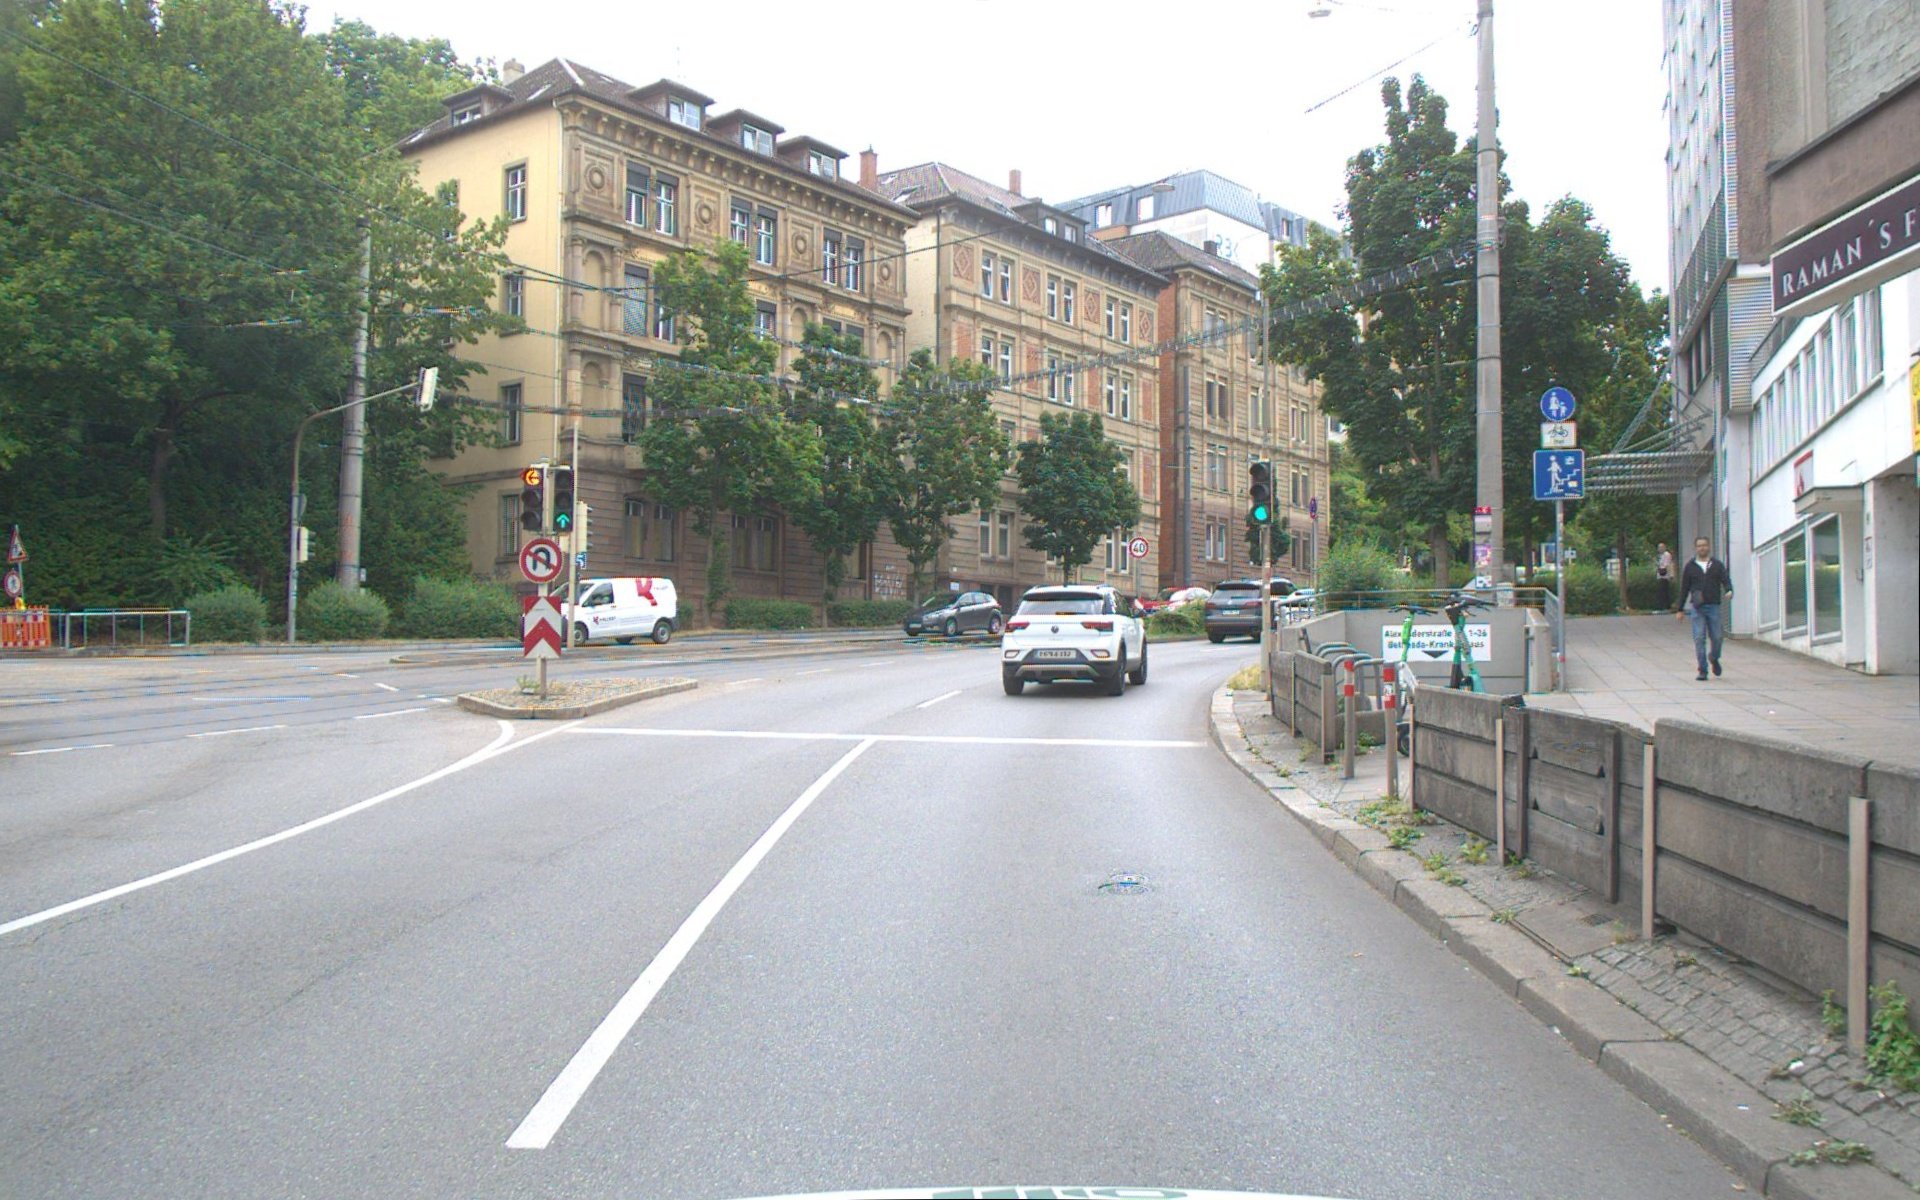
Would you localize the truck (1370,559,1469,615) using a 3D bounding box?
[{"bbox_3d":[27.322,-0.728,98.109,2.877,2.548,7.122,14,7,37],"label":"truck"}]

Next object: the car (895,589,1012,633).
[{"bbox_3d":[-0.180,0.369,56.689,1.714,1.452,4.387,0,0,37],"label":"car"}]

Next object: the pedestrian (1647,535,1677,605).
[{"bbox_3d":[18.523,-0.781,43.647,0.659,1.826,0.609,0,0,17],"label":"pedestrian"}]

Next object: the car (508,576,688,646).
[{"bbox_3d":[-10.289,0.301,47.310,1.961,1.882,4.971,0,0,38],"label":"car"}]

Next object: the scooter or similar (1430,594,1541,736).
[{"bbox_3d":[4.598,0.553,14.462,0.997,1.203,0.373,0,0,-31],"label":"scooter or similar"}]

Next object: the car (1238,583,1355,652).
[{"bbox_3d":[8.451,0.458,41.328,1.866,1.601,3.829,2,-1,27],"label":"car"}]

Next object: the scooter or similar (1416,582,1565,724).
[{"bbox_3d":[5.098,0.487,15.877,1.426,1.276,0.551,-2,1,-31],"label":"scooter or similar"}]

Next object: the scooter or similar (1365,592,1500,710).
[{"bbox_3d":[5.009,0.521,17.520,1.426,1.203,0.577,0,0,-31],"label":"scooter or similar"}]

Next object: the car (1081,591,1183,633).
[{"bbox_3d":[6.503,0.479,62.161,1.959,1.546,4.390,-1,-1,35],"label":"car"}]

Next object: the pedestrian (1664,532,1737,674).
[{"bbox_3d":[9.961,0.027,22.273,0.817,1.842,1.150,2,1,23],"label":"pedestrian"}]

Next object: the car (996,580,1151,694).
[{"bbox_3d":[1.818,0.527,25.178,1.896,1.594,4.049,0,0,11],"label":"car"}]

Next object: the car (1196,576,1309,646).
[{"bbox_3d":[8.020,0.333,45.101,1.805,1.770,3.992,1,-1,29],"label":"car"}]
